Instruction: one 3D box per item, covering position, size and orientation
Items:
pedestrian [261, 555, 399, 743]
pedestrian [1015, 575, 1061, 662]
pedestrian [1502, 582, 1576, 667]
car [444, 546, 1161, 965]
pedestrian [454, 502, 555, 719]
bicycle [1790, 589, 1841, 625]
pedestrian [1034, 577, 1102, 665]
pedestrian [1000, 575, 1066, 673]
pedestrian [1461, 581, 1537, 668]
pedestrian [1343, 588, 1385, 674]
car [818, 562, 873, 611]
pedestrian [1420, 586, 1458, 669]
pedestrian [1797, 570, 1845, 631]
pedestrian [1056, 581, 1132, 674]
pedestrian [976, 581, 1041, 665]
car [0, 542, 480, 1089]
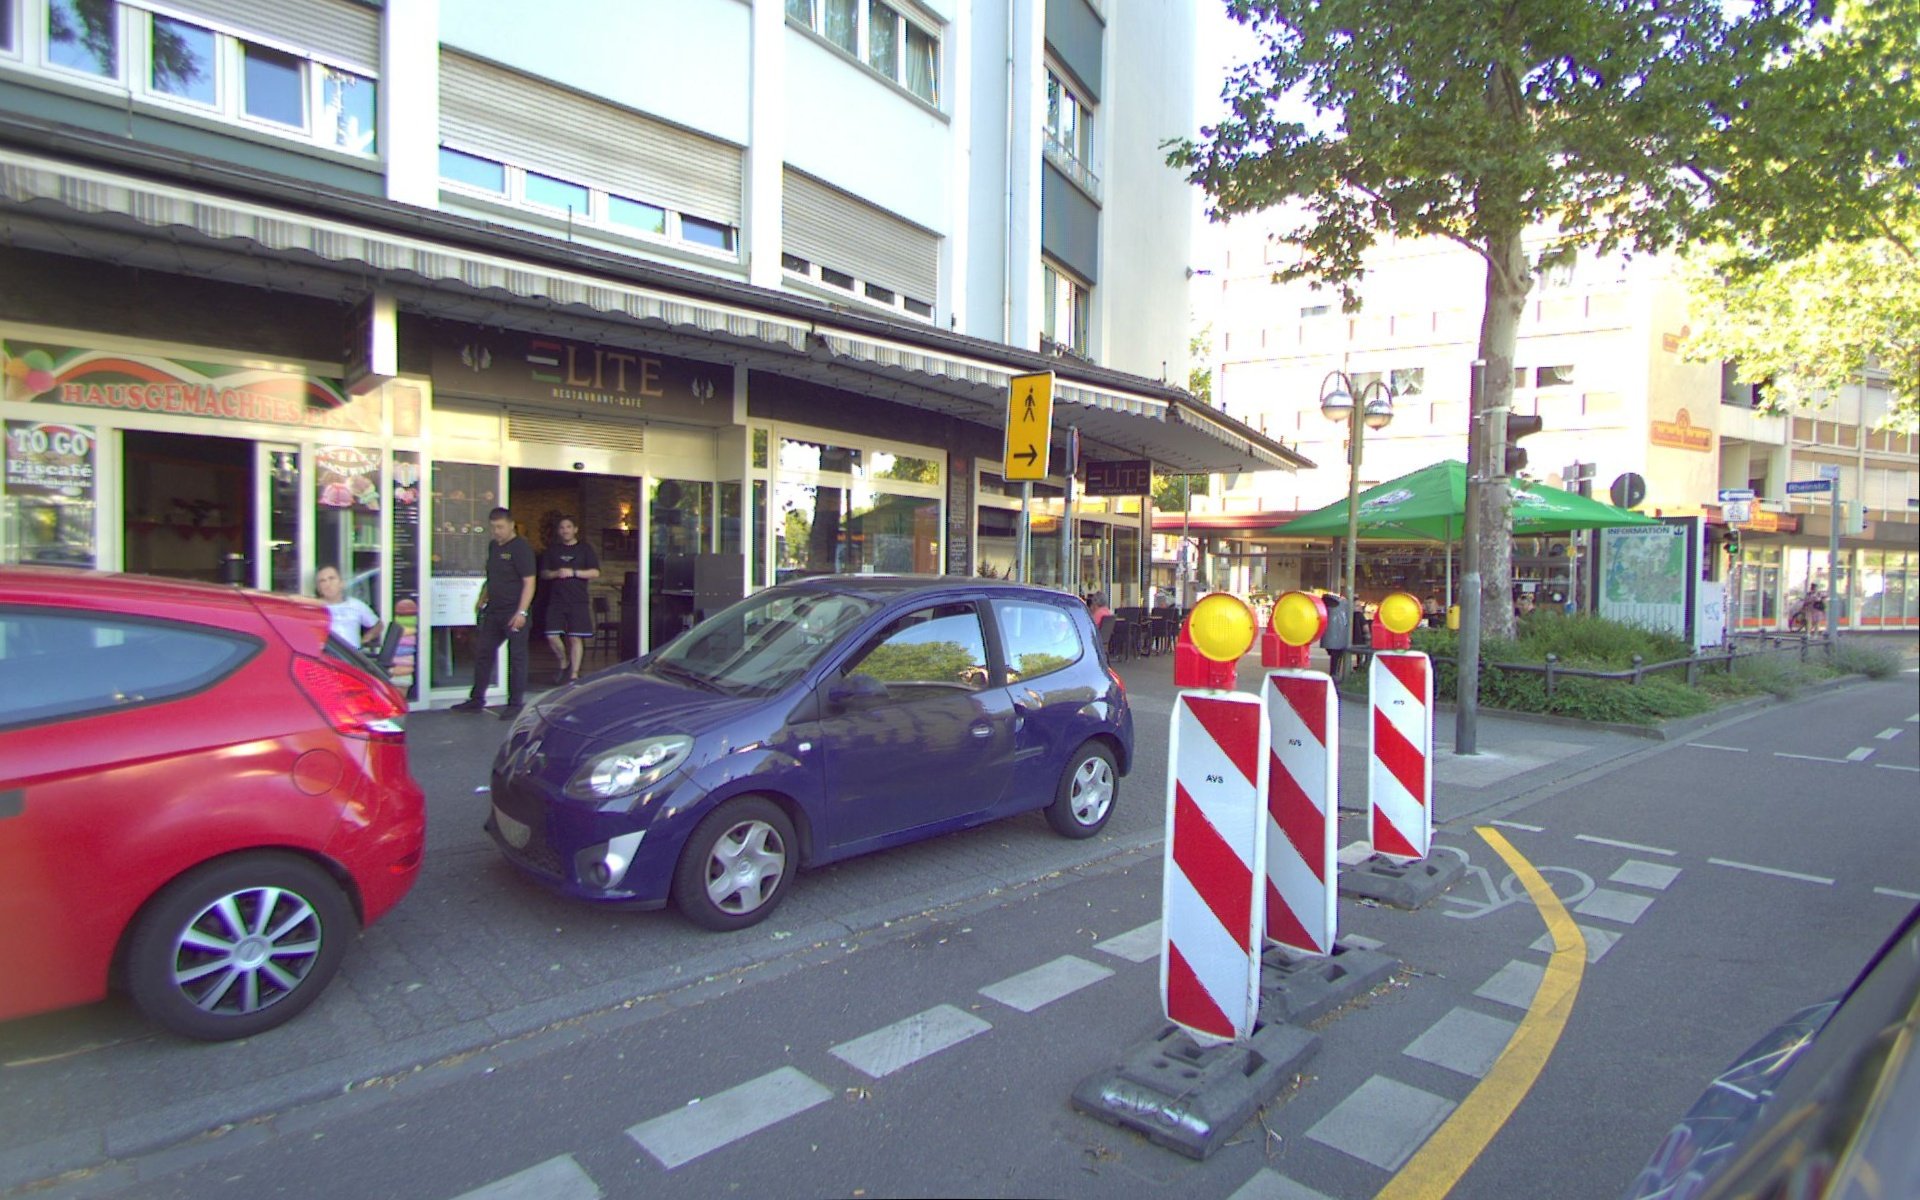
[{"bbox_3d":[-4.817,0.318,7.714,0.765,1.247,1.207,-1,5,-38],"label":"pedestrian"},{"bbox_3d":[1.172,0.271,15.281,0.541,1.259,0.521,2,1,-7],"label":"pedestrian"},{"bbox_3d":[9.275,0.378,16.226,0.753,1.301,0.720,0,1,-28],"label":"pedestrian"},{"bbox_3d":[-0.643,0.529,5.507,3.545,1.484,1.621,0,4,-44],"label":"car"},{"bbox_3d":[-3.878,0.067,8.607,0.579,1.756,0.596,1,3,-43],"label":"pedestrian"},{"bbox_3d":[28.131,0.213,33.257,1.933,1.157,0.530,0,1,-26],"label":"bicycle"},{"bbox_3d":[1.593,0.295,14.920,0.664,1.233,0.706,3,1,43],"label":"pedestrian"},{"bbox_3d":[0.999,0.312,13.755,0.644,1.267,0.711,3,1,25],"label":"pedestrian"},{"bbox_3d":[8.424,0.369,15.824,0.752,1.301,0.721,0,1,-27],"label":"pedestrian"},{"bbox_3d":[5.949,0.449,14.917,0.460,1.235,0.432,1,0,5],"label":"pedestrian"},{"bbox_3d":[-4.422,-0.549,39.527,1.960,1.771,4.004,1,1,-5],"label":"car"},{"bbox_3d":[7.462,0.416,15.773,0.427,1.234,0.465,3,2,20],"label":"pedestrian"},{"bbox_3d":[25.548,0.011,30.037,0.883,1.779,0.751,0,1,-24],"label":"pedestrian"},{"bbox_3d":[1.862,0.364,14.030,0.838,1.213,0.644,3,1,27],"label":"pedestrian"},{"bbox_3d":[0.709,0.318,14.659,0.710,1.144,0.645,3,1,25],"label":"pedestrian"},{"bbox_3d":[-3.637,0.561,2.854,1.667,1.446,3.786,5,4,44],"label":"car"}]
